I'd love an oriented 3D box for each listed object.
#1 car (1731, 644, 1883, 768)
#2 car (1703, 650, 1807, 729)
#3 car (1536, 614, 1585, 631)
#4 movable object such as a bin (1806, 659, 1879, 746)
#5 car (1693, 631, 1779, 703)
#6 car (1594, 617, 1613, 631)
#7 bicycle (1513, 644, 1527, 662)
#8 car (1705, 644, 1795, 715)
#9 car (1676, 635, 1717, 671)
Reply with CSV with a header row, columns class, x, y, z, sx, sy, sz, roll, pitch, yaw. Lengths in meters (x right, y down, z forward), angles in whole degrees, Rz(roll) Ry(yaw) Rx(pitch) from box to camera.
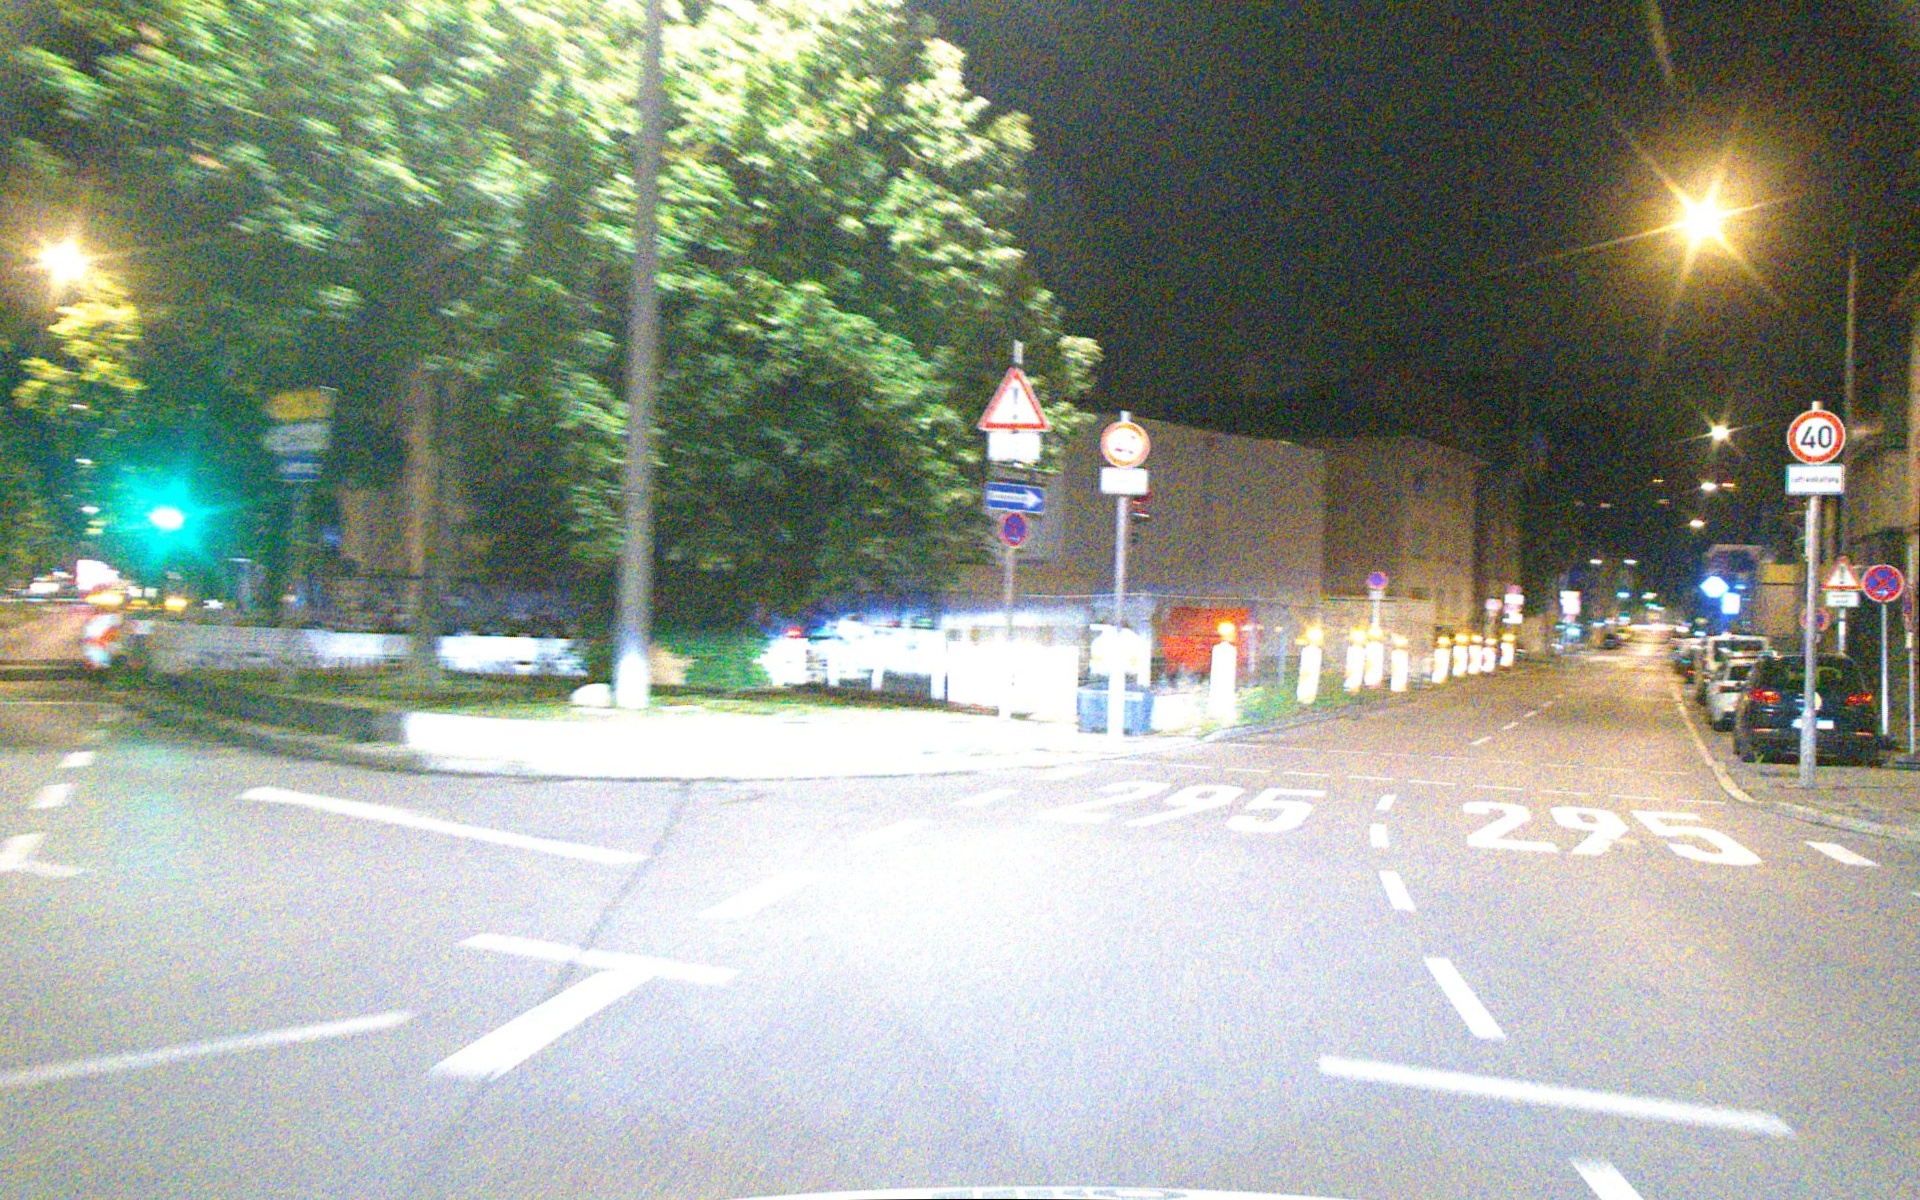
class,x,y,z,sx,sy,sz,roll,pitch,yaw
car,12.871,1.548,25.342,1.708,1.712,4.257,0,-2,22
car,16.875,1.844,35.294,1.708,1.535,4.832,0,-2,22
car,58.228,2.149,160.267,4.350,1.475,1.999,2,-1,23
movable object such as a bin,15.301,1.758,28.706,0.918,1.457,1.339,0,-2,20
car,22.450,1.907,48.015,2.030,1.962,5.368,0,-2,23
car,77.351,2.883,198.784,1.953,1.528,3.998,2,-1,23
bicycle,34.123,3.241,100.817,0.607,1.070,1.721,2,-1,24
car,19.016,1.881,39.927,1.708,1.593,4.209,0,-2,22
car,40.665,2.880,91.401,1.763,1.908,4.774,0,-1,20
